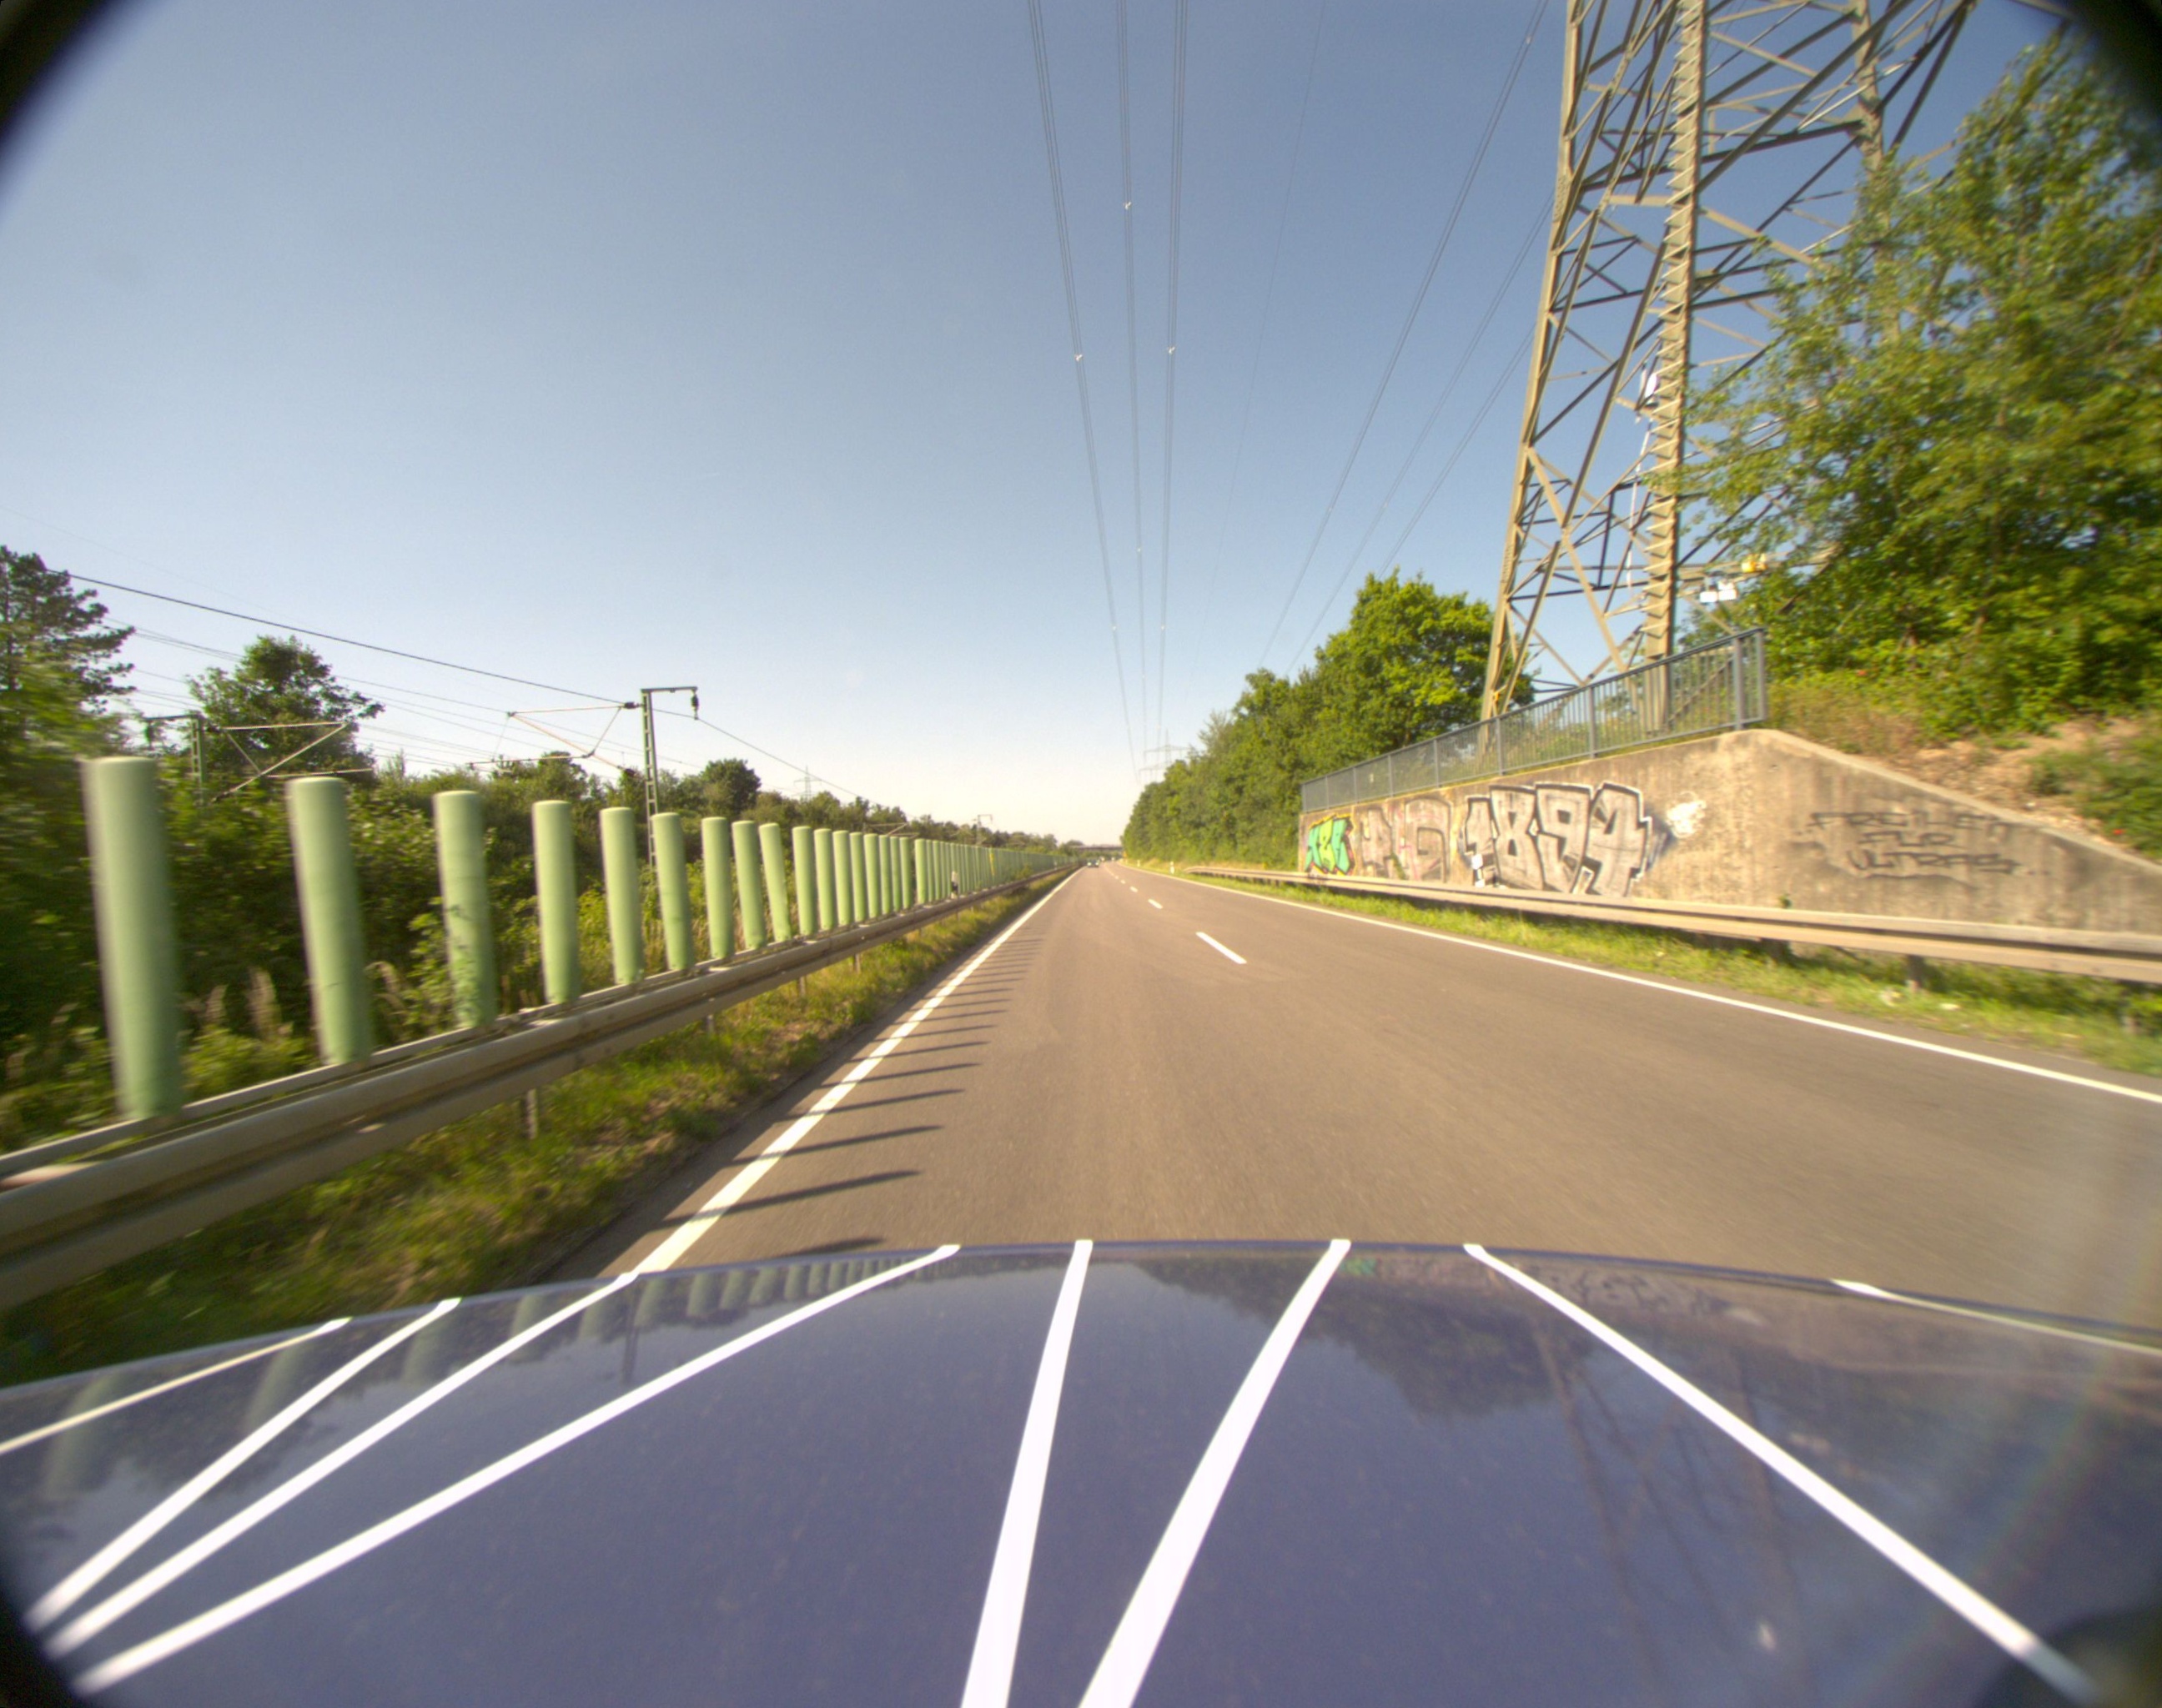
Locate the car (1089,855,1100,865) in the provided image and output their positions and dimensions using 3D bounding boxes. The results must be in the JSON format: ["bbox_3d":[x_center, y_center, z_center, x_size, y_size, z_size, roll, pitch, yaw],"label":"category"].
[{"bbox_3d":[2.297,1.019,128.403,1.787,1.550,4.001,-1,0,2],"label":"car"}]
